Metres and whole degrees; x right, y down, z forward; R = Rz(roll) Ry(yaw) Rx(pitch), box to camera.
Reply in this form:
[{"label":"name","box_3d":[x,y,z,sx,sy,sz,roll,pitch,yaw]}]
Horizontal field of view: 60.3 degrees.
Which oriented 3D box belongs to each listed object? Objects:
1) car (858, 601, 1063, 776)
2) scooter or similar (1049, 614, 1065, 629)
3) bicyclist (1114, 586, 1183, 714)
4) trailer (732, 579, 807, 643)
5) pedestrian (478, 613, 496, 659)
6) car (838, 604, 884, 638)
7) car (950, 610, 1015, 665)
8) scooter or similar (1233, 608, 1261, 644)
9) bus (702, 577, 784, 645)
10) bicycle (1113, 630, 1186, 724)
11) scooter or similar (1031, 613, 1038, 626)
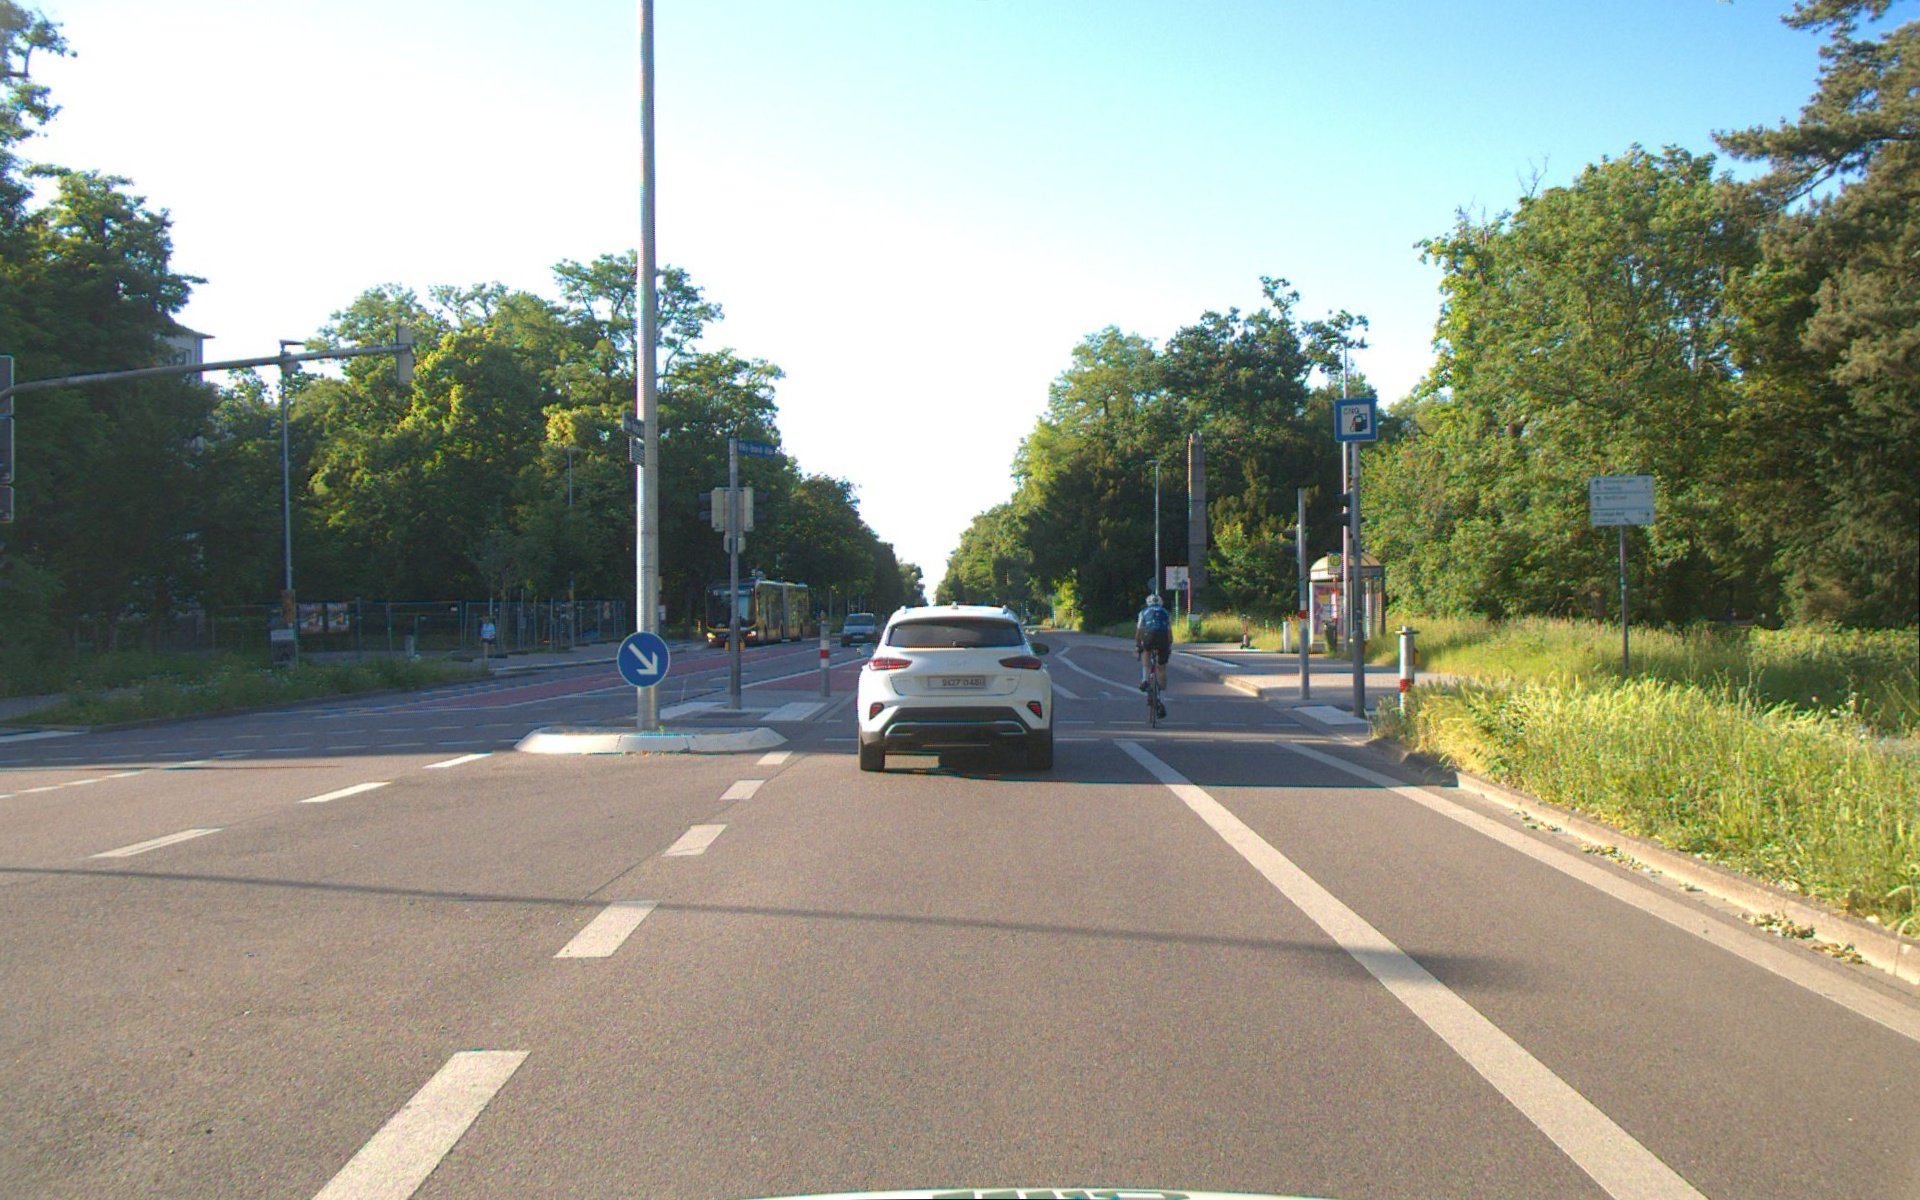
[{"label":"car","box_3d":[-0.107,0.790,16.225,1.726,1.485,3.814,1,-1,-4]},{"label":"scooter or similar","box_3d":[8.434,1.850,143.750,1.529,1.272,0.526,0,-1,-44]},{"label":"bicyclist","box_3d":[2.413,0.626,21.248,0.841,1.594,0.881,1,-1,5]},{"label":"trailer","box_3d":[-10.626,0.649,93.269,2.795,3.414,9.364,1,-1,2]},{"label":"pedestrian","box_3d":[-16.275,1.231,56.903,0.442,1.560,0.571,-1,-1,-4]},{"label":"car","box_3d":[-4.384,0.926,73.842,1.675,1.446,4.555,-1,0,1]},{"label":"car","box_3d":[0.650,1.004,45.821,1.641,1.442,3.575,-1,-1,3]},{"label":"scooter or similar","box_3d":[10.398,0.930,59.905,0.707,1.269,1.327,-2,-1,23]},{"label":"bus","box_3d":[-10.936,0.581,84.274,2.781,3.253,8.600,-1,-1,1]},{"label":"bicycle","box_3d":[2.424,0.962,21.351,0.872,1.114,2.137,1,0,5]},{"label":"scooter or similar","box_3d":[8.386,2.200,187.365,0.668,1.448,1.681,-1,-1,-1]}]
